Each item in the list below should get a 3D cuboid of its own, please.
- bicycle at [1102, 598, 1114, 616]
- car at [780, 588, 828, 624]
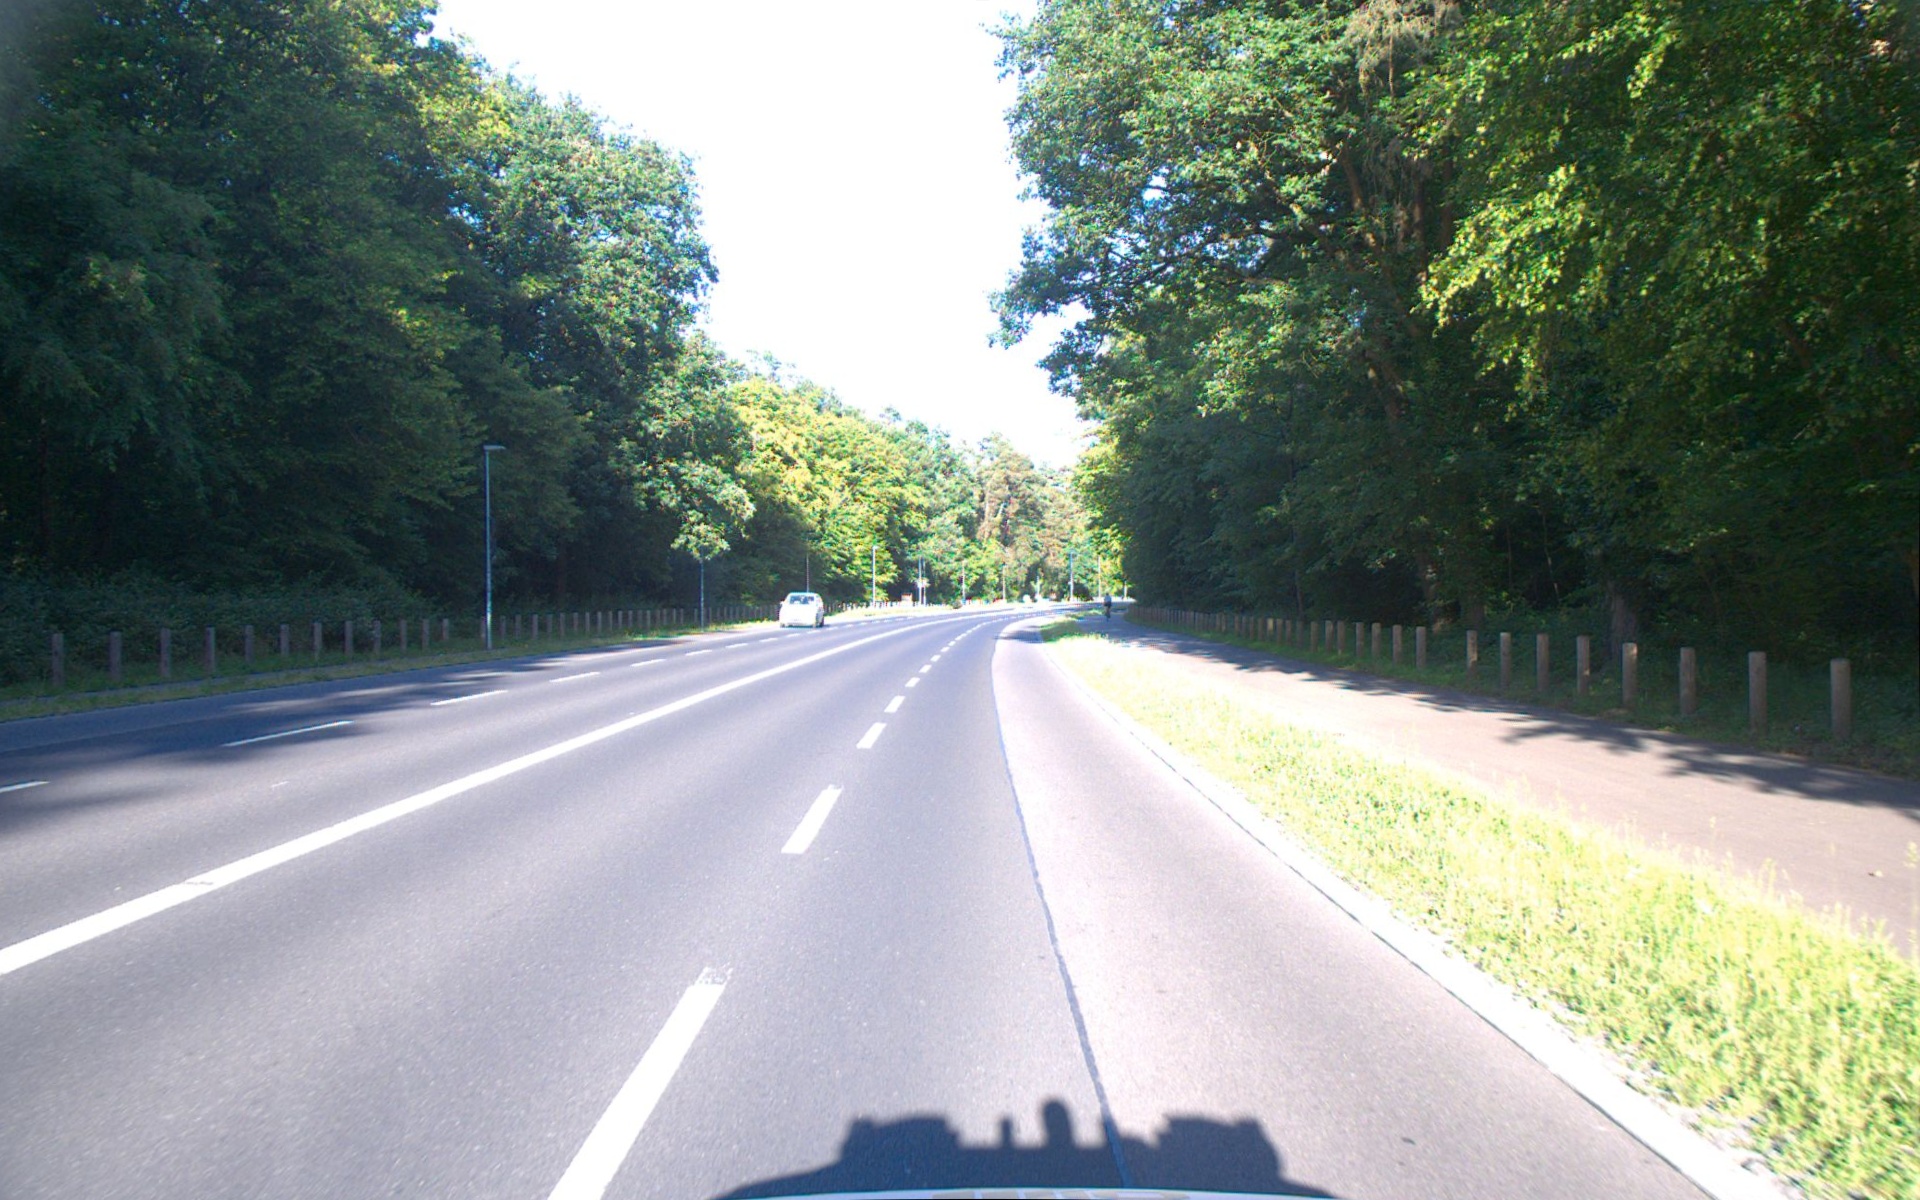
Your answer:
[{"bbox_3d":[8.989,0.400,100.670,0.697,1.074,2.054,0,0,5],"label":"bicycle"},{"bbox_3d":[-6.827,0.251,72.721,1.554,1.462,4.310,2,0,2],"label":"car"}]
